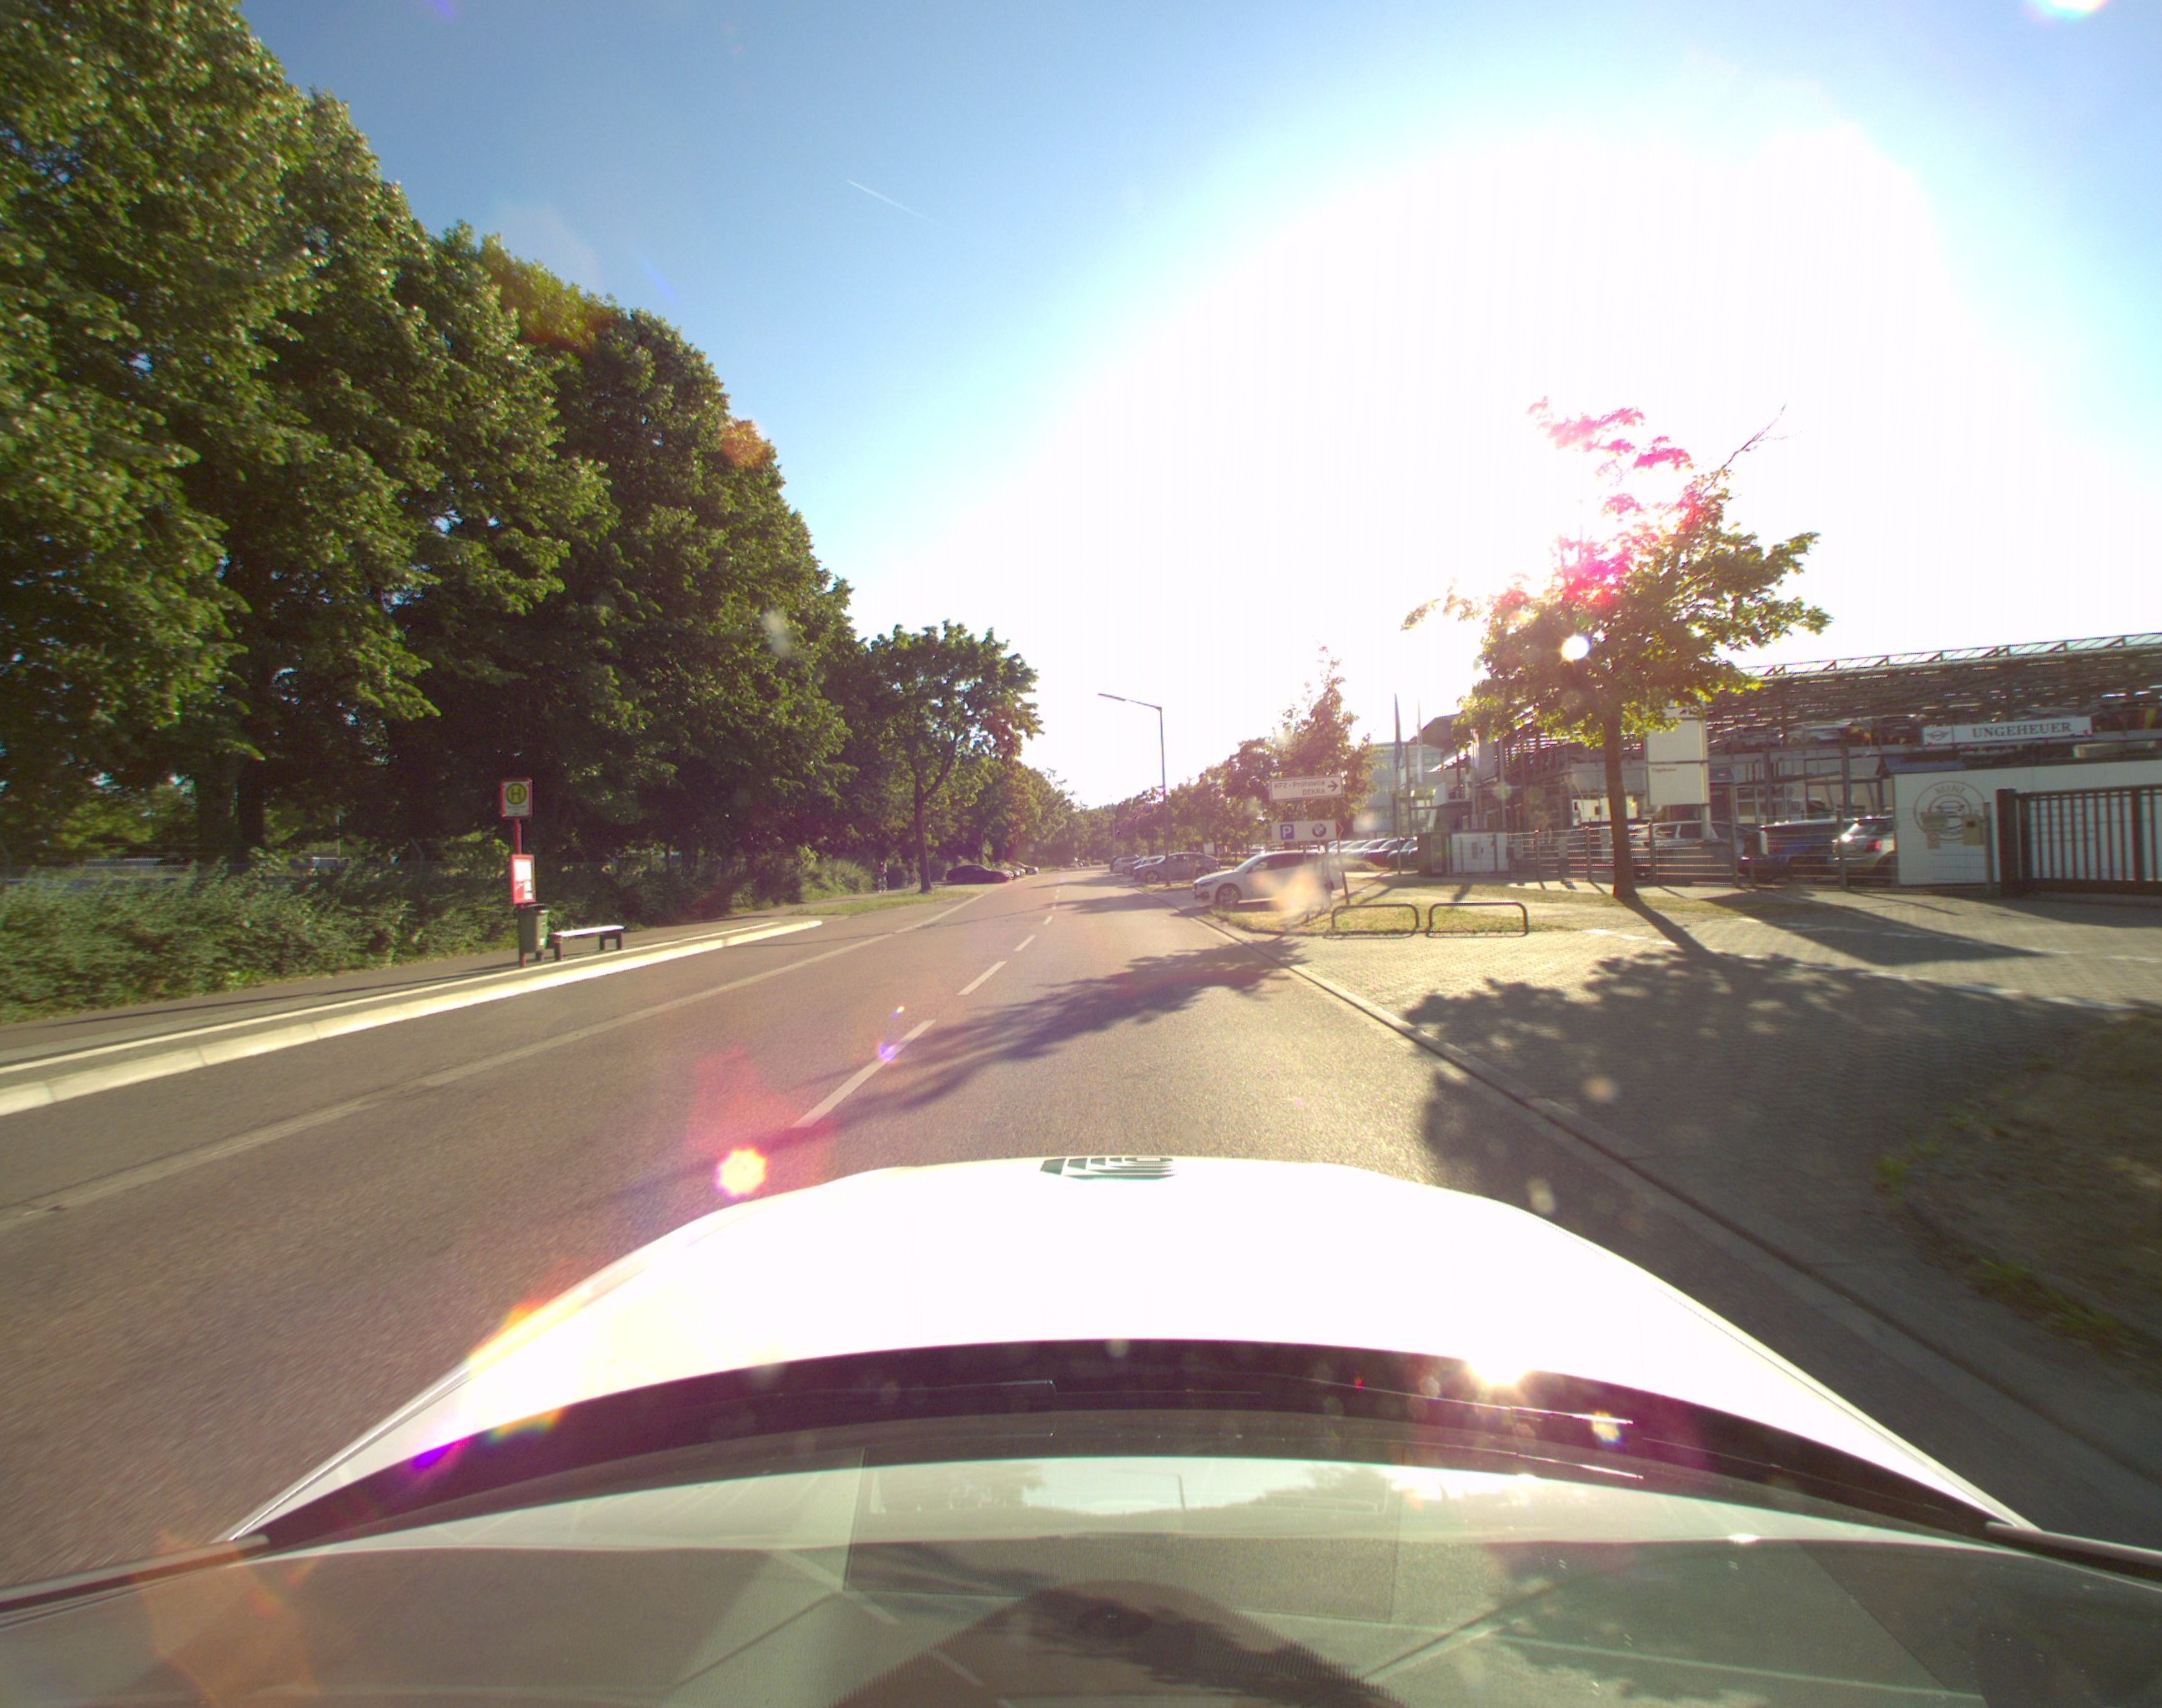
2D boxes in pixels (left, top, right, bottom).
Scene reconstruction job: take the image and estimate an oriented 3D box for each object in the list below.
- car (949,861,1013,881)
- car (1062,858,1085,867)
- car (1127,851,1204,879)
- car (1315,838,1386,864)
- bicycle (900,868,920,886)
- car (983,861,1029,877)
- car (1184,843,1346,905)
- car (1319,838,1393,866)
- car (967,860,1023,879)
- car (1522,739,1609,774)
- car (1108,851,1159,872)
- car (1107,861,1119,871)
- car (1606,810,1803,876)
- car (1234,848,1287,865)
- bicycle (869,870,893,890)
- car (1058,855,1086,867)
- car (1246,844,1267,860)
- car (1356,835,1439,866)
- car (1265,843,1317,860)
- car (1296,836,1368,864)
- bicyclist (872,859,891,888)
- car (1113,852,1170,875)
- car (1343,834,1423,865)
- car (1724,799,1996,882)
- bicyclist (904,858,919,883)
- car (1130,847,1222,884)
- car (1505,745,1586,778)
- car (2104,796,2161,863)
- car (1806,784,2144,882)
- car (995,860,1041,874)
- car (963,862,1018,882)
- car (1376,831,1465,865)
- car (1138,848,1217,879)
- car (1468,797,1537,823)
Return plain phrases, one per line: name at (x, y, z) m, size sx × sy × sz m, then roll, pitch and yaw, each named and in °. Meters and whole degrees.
car at (-7.535, 1.290, 61.575) m, size 4.637 × 1.422 × 1.915 m, roll -1°, pitch 0°, yaw -3°
car at (-1.423, 1.539, 153.451) m, size 4.189 × 1.530 × 1.709 m, roll -3°, pitch 0°, yaw 7°
car at (5.269, 0.680, 51.281) m, size 4.610 × 1.456 × 1.999 m, roll -3°, pitch 0°, yaw -1°
car at (18.973, -0.216, 57.311) m, size 4.615 × 1.574 × 1.982 m, roll -2°, pitch -2°, yaw -27°
bicycle at (-10.985, 1.456, 52.438) m, size 0.763 × 1.039 × 2.217 m, roll -3°, pitch 0°, yaw 0°
car at (-7.589, 1.516, 82.640) m, size 4.465 × 1.462 × 2.000 m, roll -1°, pitch 0°, yaw 0°
car at (5.319, 0.573, 23.912) m, size 4.187 × 1.444 × 2.086 m, roll -4°, pitch 0°, yaw -2°
car at (18.367, -0.132, 54.379) m, size 4.615 × 1.574 × 1.982 m, roll -3°, pitch 0°, yaw -27°
car at (-7.631, 1.362, 72.525) m, size 4.839 × 1.531 × 1.998 m, roll -1°, pitch 0°, yaw -4°
car at (27.733, -5.559, 46.717) m, size 3.959 × 1.666 × 1.794 m, roll 0°, pitch 0°, yaw 13°
car at (5.004, 0.674, 77.355) m, size 4.673 × 1.751 × 2.194 m, roll -3°, pitch 0°, yaw 4°
car at (6.407, 2.346, 161.431) m, size 1.982 × 1.717 × 4.009 m, roll -2°, pitch 0°, yaw 8°
car at (17.473, -0.280, 23.081) m, size 3.954 × 1.578 × 2.010 m, roll -3°, pitch 0°, yaw 19°
car at (18.136, 0.300, 82.299) m, size 4.728 × 1.463 × 2.013 m, roll -3°, pitch -1°, yaw 41°
bicycle at (-11.017, 1.430, 44.951) m, size 0.763 × 1.039 × 2.217 m, roll -3°, pitch 0°, yaw 0°
car at (-1.709, 1.326, 157.502) m, size 4.978 × 2.020 × 2.179 m, roll -3°, pitch 0°, yaw 7°
car at (21.522, -0.284, 99.647) m, size 2.016 × 1.828 × 4.997 m, roll -3°, pitch 0°, yaw 16°
car at (18.714, -0.234, 48.144) m, size 4.616 × 1.574 × 1.982 m, roll -3°, pitch 0°, yaw -27°
car at (21.555, -0.214, 83.711) m, size 4.728 × 1.463 × 2.059 m, roll -3°, pitch -1°, yaw 41°
car at (18.618, -0.319, 60.389) m, size 4.740 × 1.690 × 2.390 m, roll -4°, pitch 0°, yaw -27°
bicyclist at (-11.031, 1.086, 44.987) m, size 0.728 × 1.530 × 0.951 m, roll -3°, pitch -1°, yaw 0°
car at (5.124, 0.785, 69.756) m, size 4.681 × 1.479 × 2.000 m, roll -4°, pitch 3°, yaw -1°
car at (18.815, -0.293, 50.768) m, size 4.614 × 1.574 × 1.983 m, roll -4°, pitch 0°, yaw -26°
car at (17.537, -0.271, 18.610) m, size 3.954 × 1.578 × 2.010 m, roll -3°, pitch 0°, yaw 19°
bicyclist at (-10.954, 1.054, 52.629) m, size 0.728 × 1.530 × 0.951 m, roll -3°, pitch -1°, yaw 0°
car at (5.068, 0.619, 43.762) m, size 4.581 × 1.584 × 1.998 m, roll -4°, pitch 0°, yaw -4°
car at (28.106, -5.589, 49.393) m, size 3.959 × 1.666 × 1.794 m, roll 0°, pitch 0°, yaw 13°
car at (27.938, -0.676, 19.374) m, size 3.954 × 1.579 × 2.009 m, roll -3°, pitch -3°, yaw 19°
car at (17.245, -0.357, 16.014) m, size 3.954 × 1.578 × 2.010 m, roll -3°, pitch 0°, yaw 19°
car at (-7.099, 1.486, 92.240) m, size 5.019 × 1.462 × 2.000 m, roll -1°, pitch 0°, yaw 0°
car at (-7.429, 1.478, 67.375) m, size 4.271 × 1.531 × 2.000 m, roll -1°, pitch 0°, yaw 1°
car at (18.822, -0.328, 45.113) m, size 4.615 × 1.666 × 1.982 m, roll -3°, pitch 0°, yaw -27°
car at (5.646, 0.575, 48.187) m, size 4.363 × 1.479 × 1.999 m, roll -4°, pitch 0°, yaw -1°
car at (29.075, -3.013, 56.300) m, size 3.959 × 1.666 × 1.794 m, roll 0°, pitch 0°, yaw 13°
